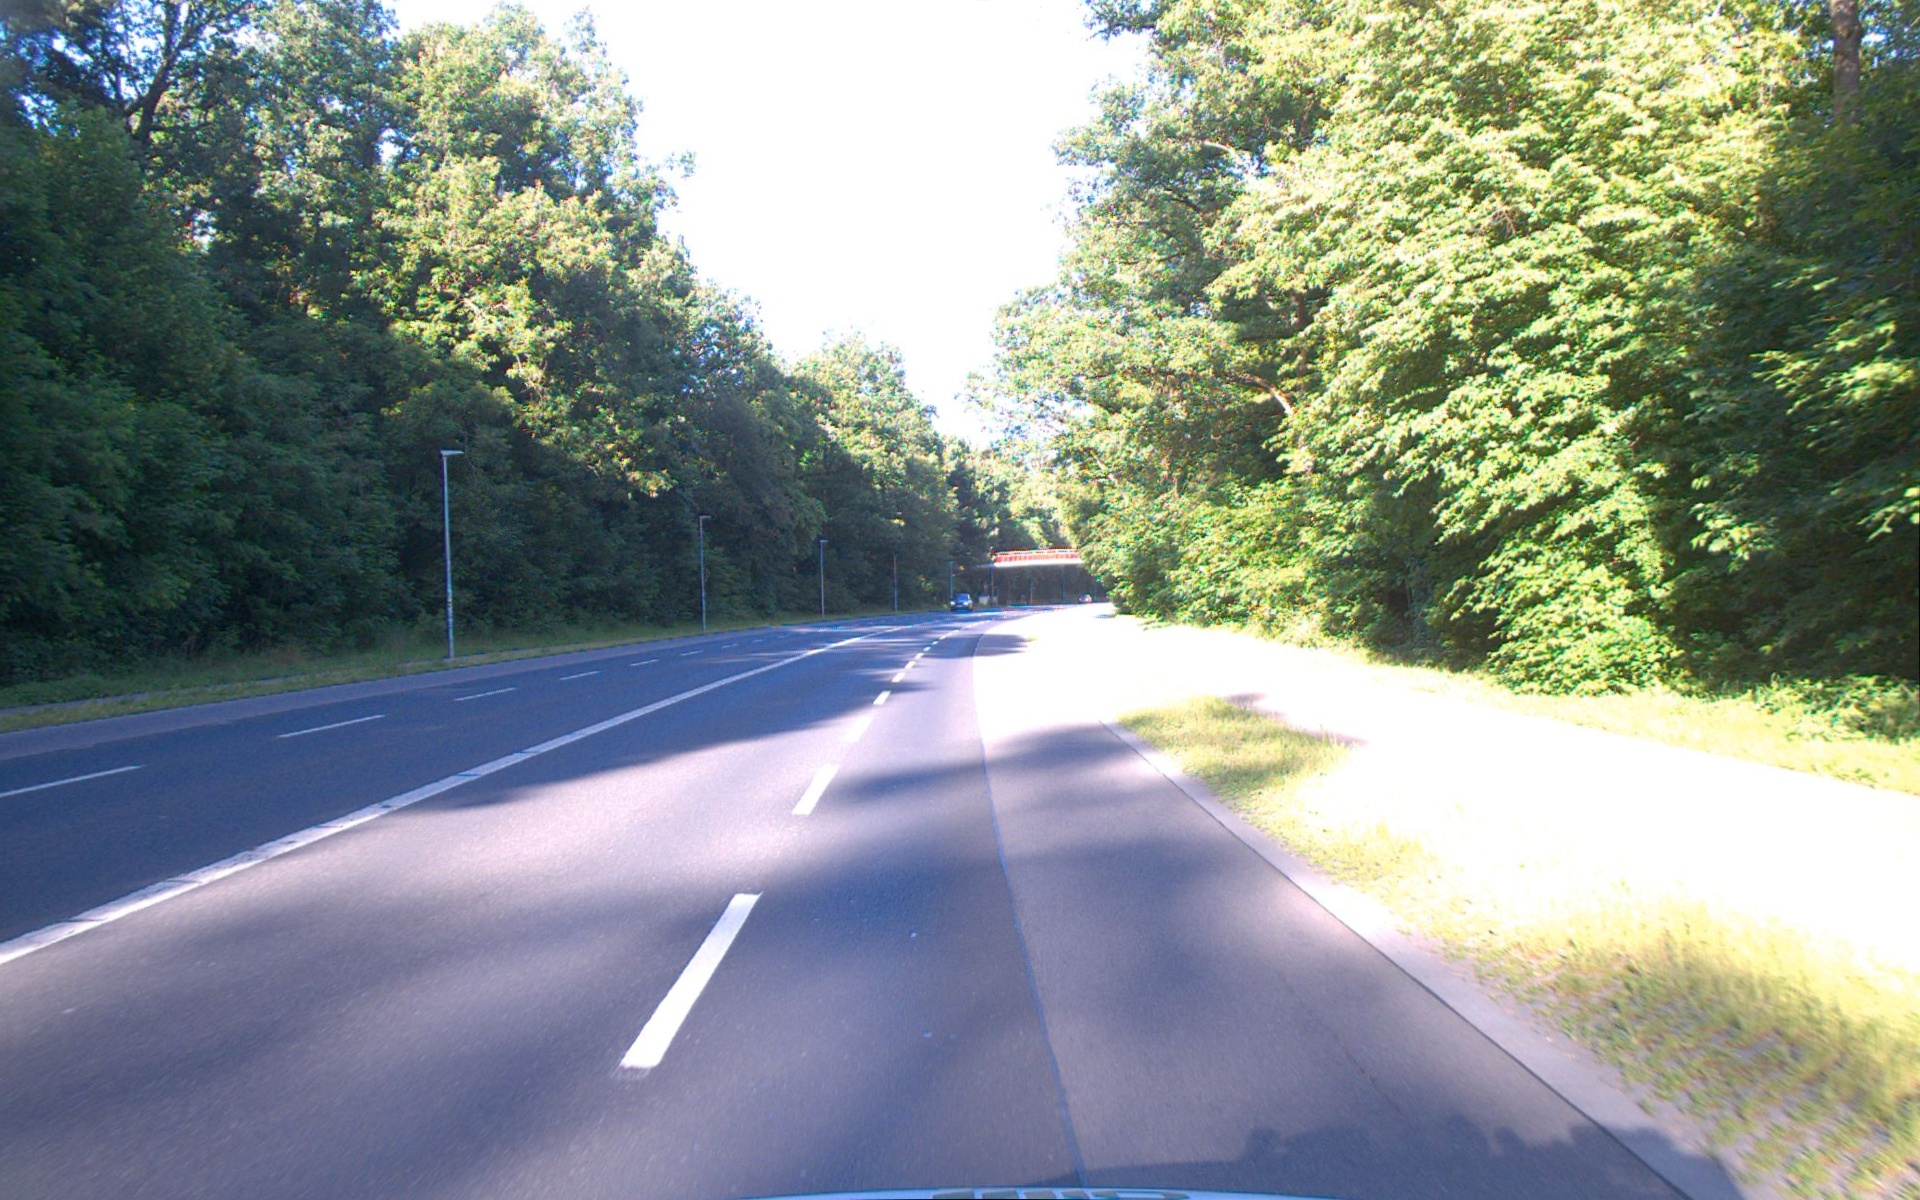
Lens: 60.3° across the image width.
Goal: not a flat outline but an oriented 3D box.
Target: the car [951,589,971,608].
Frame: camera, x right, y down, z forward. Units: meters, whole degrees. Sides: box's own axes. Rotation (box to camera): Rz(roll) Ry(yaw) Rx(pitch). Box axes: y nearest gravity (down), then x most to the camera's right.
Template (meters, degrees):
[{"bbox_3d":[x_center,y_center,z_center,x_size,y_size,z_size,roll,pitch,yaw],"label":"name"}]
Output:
[{"bbox_3d":[0.077,-0.164,157.420,1.770,1.692,4.523,-1,0,2],"label":"car"}]
